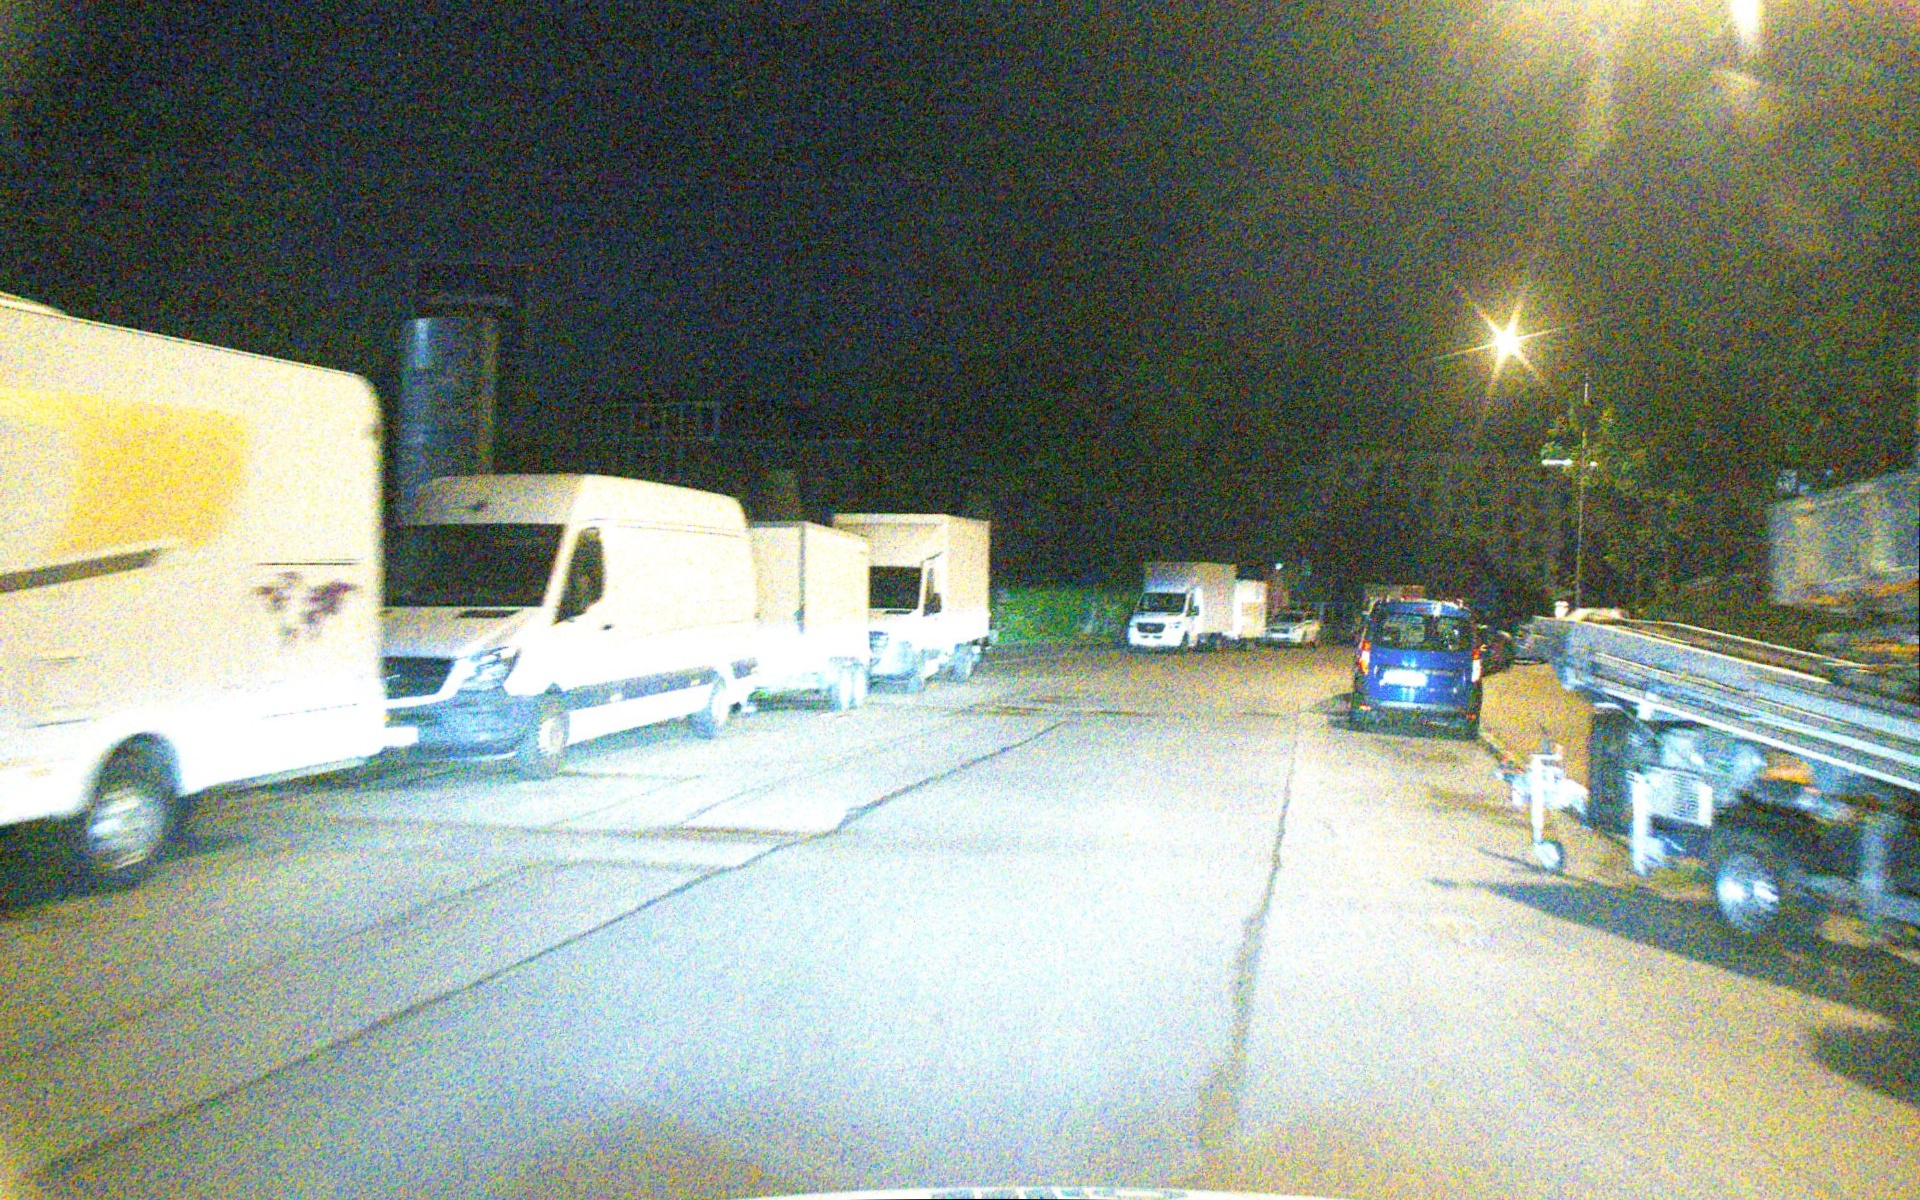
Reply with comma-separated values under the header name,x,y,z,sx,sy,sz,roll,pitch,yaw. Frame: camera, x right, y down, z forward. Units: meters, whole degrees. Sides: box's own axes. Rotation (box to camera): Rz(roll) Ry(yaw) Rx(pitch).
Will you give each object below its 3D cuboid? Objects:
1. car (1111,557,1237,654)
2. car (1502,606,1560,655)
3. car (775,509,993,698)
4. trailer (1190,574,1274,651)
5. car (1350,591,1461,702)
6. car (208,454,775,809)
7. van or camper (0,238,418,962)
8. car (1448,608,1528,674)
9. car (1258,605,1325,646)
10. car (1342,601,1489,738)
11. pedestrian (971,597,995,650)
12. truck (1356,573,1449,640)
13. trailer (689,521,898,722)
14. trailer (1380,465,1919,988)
name,x,y,z,sx,sy,sz,roll,pitch,yaw
car,7.748,0.154,59.113,2.469,3.226,7.133,0,0,24
car,23.304,1.233,67.485,1.687,1.852,3.996,3,0,26
car,-1.158,0.019,29.878,2.465,2.978,7.208,0,0,10
trailer,10.733,0.430,65.053,1.954,2.862,4.699,2,1,26
car,8.254,0.819,30.918,1.684,1.852,4.003,3,0,12
car,-3.976,0.200,16.041,2.465,2.651,7.097,0,0,10
van or camper,-5.445,-0.001,7.156,2.465,3.148,7.452,0,0,12
car,16.239,1.226,50.748,1.687,1.852,3.996,3,0,26
car,15.136,1.165,75.466,1.955,1.729,4.202,3,0,26
car,6.392,0.909,23.566,1.684,1.690,4.003,3,0,12
pedestrian,0.736,0.747,53.628,0.662,1.681,0.652,1,2,-7
truck,24.673,0.332,91.863,1.960,3.462,8.949,3,2,34
trailer,-2.234,0.252,23.156,1.951,2.571,3.571,0,1,11
trailer,4.278,0.524,8.913,1.534,2.198,5.199,0,0,-16
